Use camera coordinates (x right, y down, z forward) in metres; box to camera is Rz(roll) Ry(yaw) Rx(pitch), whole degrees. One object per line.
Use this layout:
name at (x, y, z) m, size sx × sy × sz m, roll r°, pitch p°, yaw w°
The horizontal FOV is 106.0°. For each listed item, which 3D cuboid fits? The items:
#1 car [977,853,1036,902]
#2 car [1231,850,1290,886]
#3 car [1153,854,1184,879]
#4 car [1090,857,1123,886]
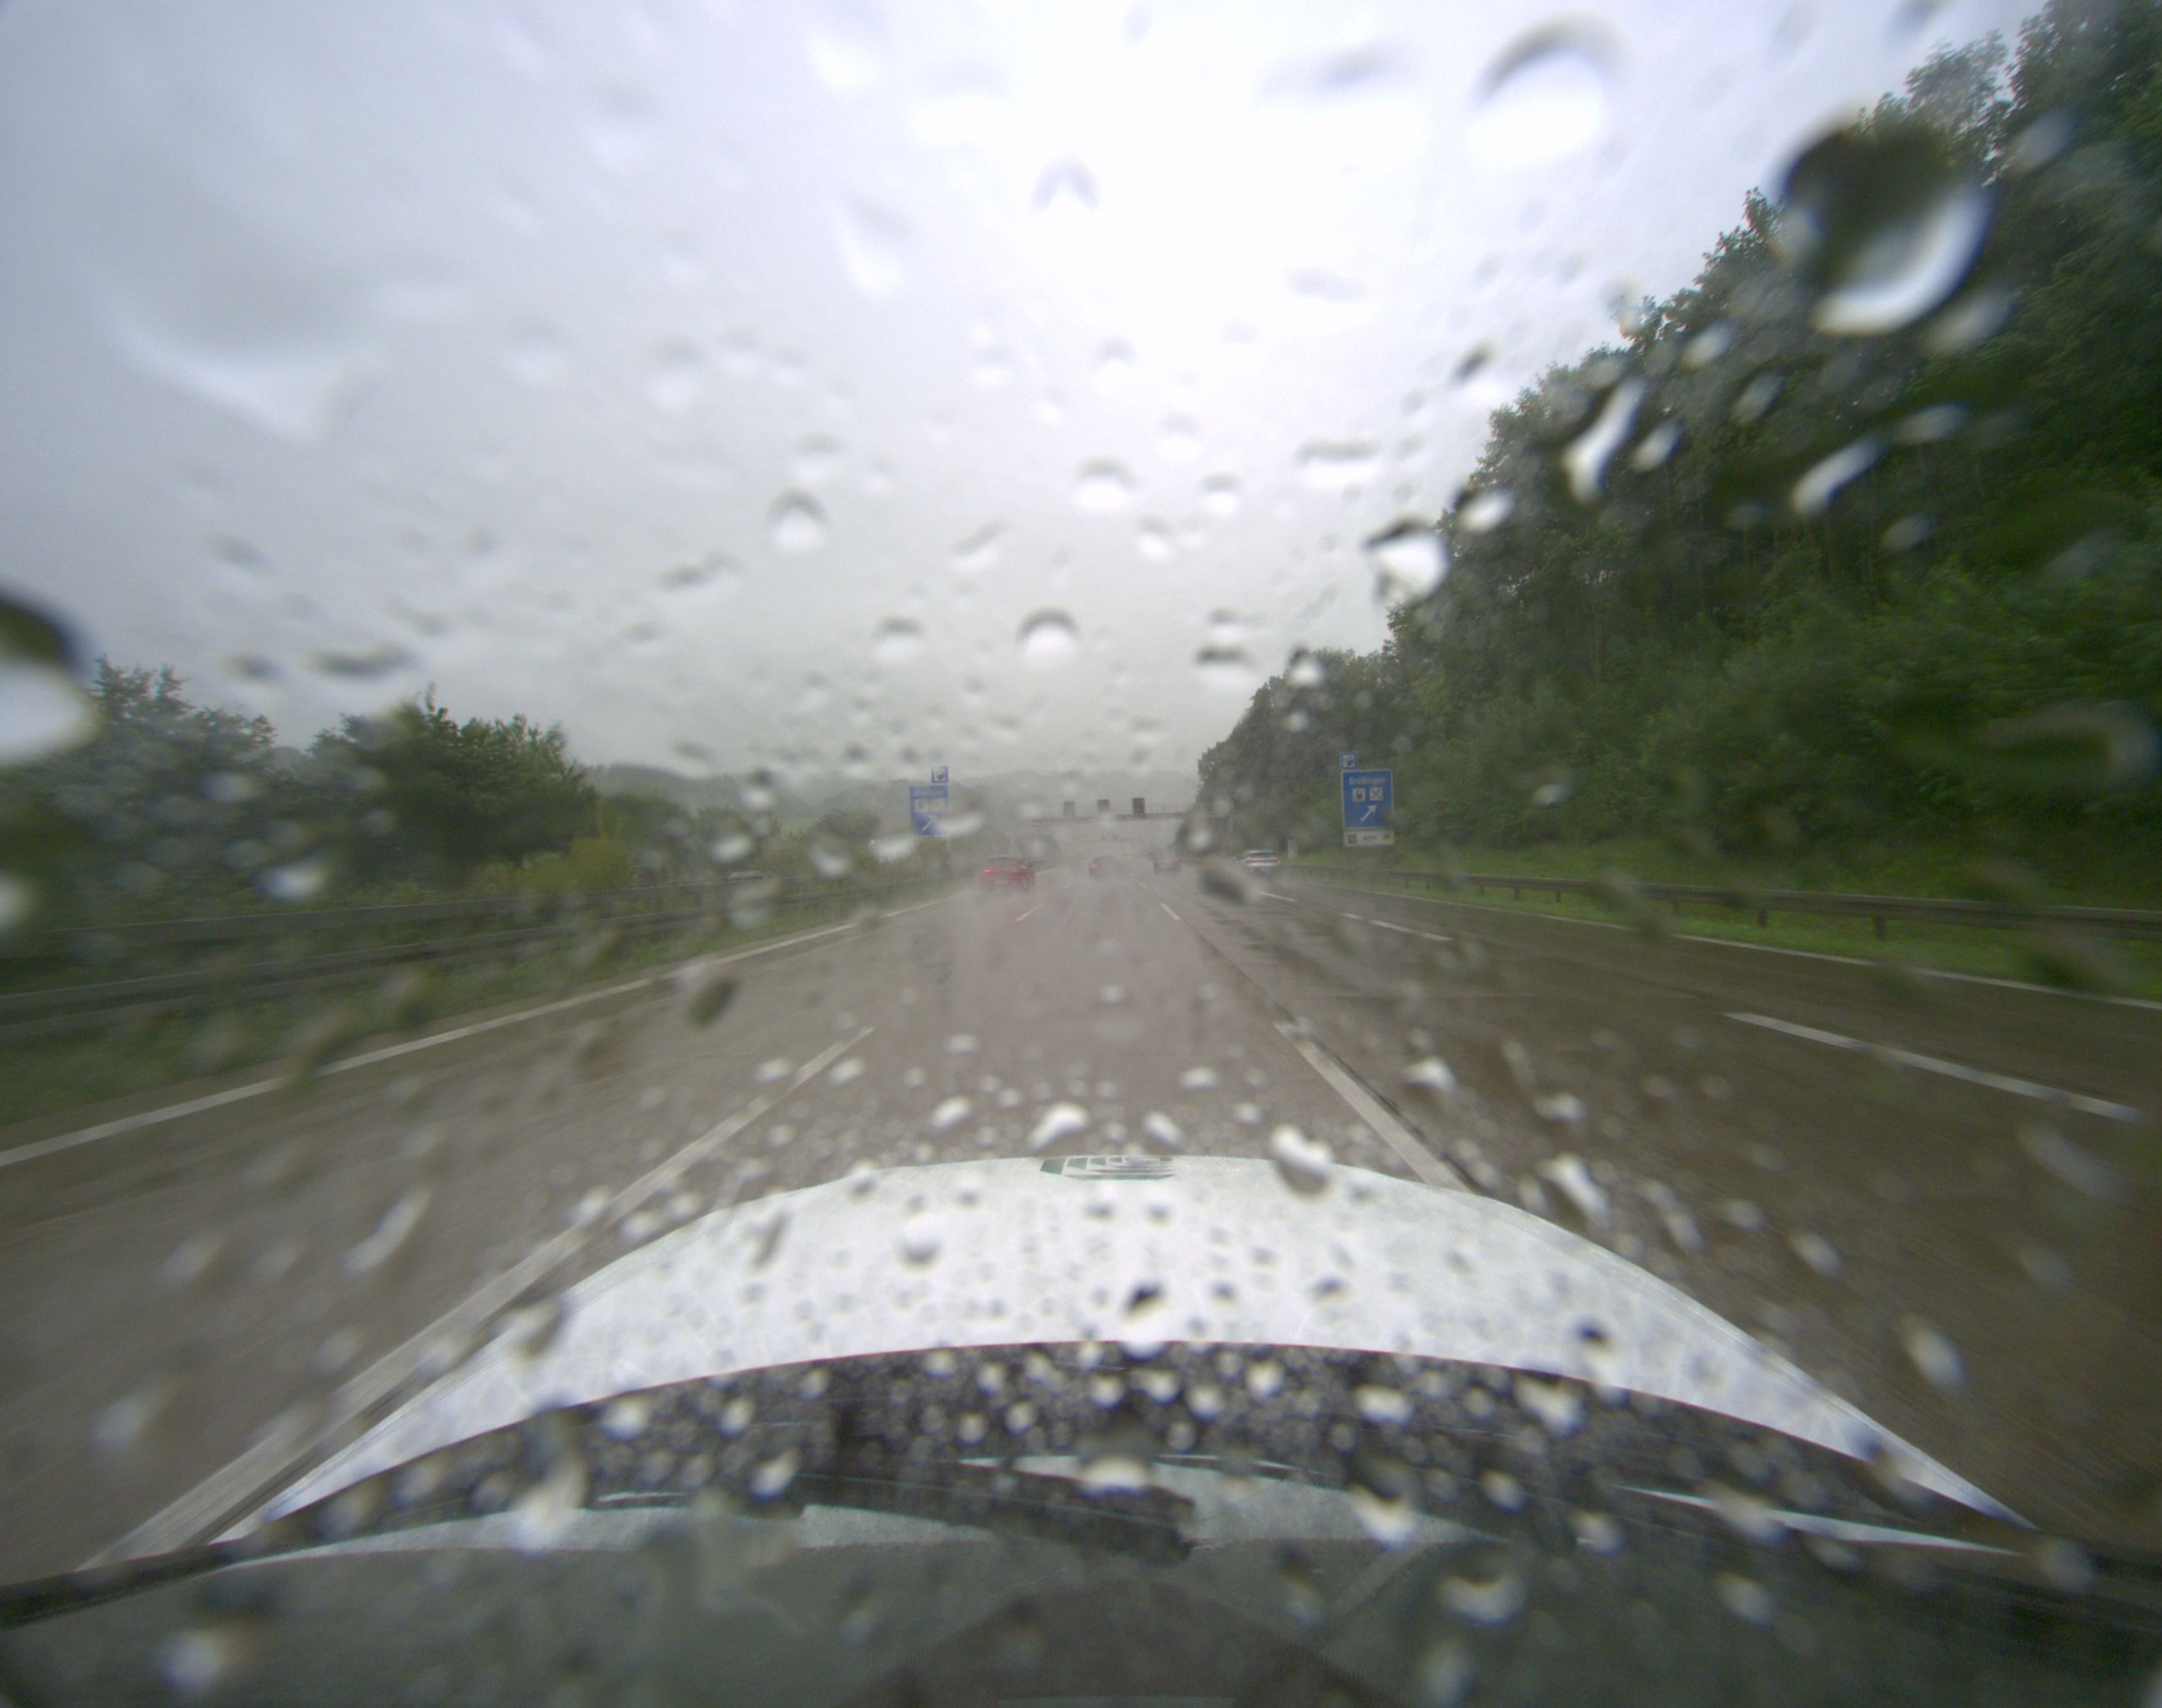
car at (-2.907, 0.892, 32.591) m, size 1.878 × 1.816 × 4.001 m, roll -1°, pitch 0°, yaw 1°
car at (9.105, 0.691, 41.846) m, size 1.986 × 1.750 × 5.665 m, roll 0°, pitch 0°, yaw 2°
car at (6.404, 0.885, 59.811) m, size 1.964 × 1.760 × 4.002 m, roll -1°, pitch 0°, yaw 2°
car at (1.503, 1.010, 48.196) m, size 1.852 × 1.589 × 4.002 m, roll 0°, pitch 0°, yaw 2°
